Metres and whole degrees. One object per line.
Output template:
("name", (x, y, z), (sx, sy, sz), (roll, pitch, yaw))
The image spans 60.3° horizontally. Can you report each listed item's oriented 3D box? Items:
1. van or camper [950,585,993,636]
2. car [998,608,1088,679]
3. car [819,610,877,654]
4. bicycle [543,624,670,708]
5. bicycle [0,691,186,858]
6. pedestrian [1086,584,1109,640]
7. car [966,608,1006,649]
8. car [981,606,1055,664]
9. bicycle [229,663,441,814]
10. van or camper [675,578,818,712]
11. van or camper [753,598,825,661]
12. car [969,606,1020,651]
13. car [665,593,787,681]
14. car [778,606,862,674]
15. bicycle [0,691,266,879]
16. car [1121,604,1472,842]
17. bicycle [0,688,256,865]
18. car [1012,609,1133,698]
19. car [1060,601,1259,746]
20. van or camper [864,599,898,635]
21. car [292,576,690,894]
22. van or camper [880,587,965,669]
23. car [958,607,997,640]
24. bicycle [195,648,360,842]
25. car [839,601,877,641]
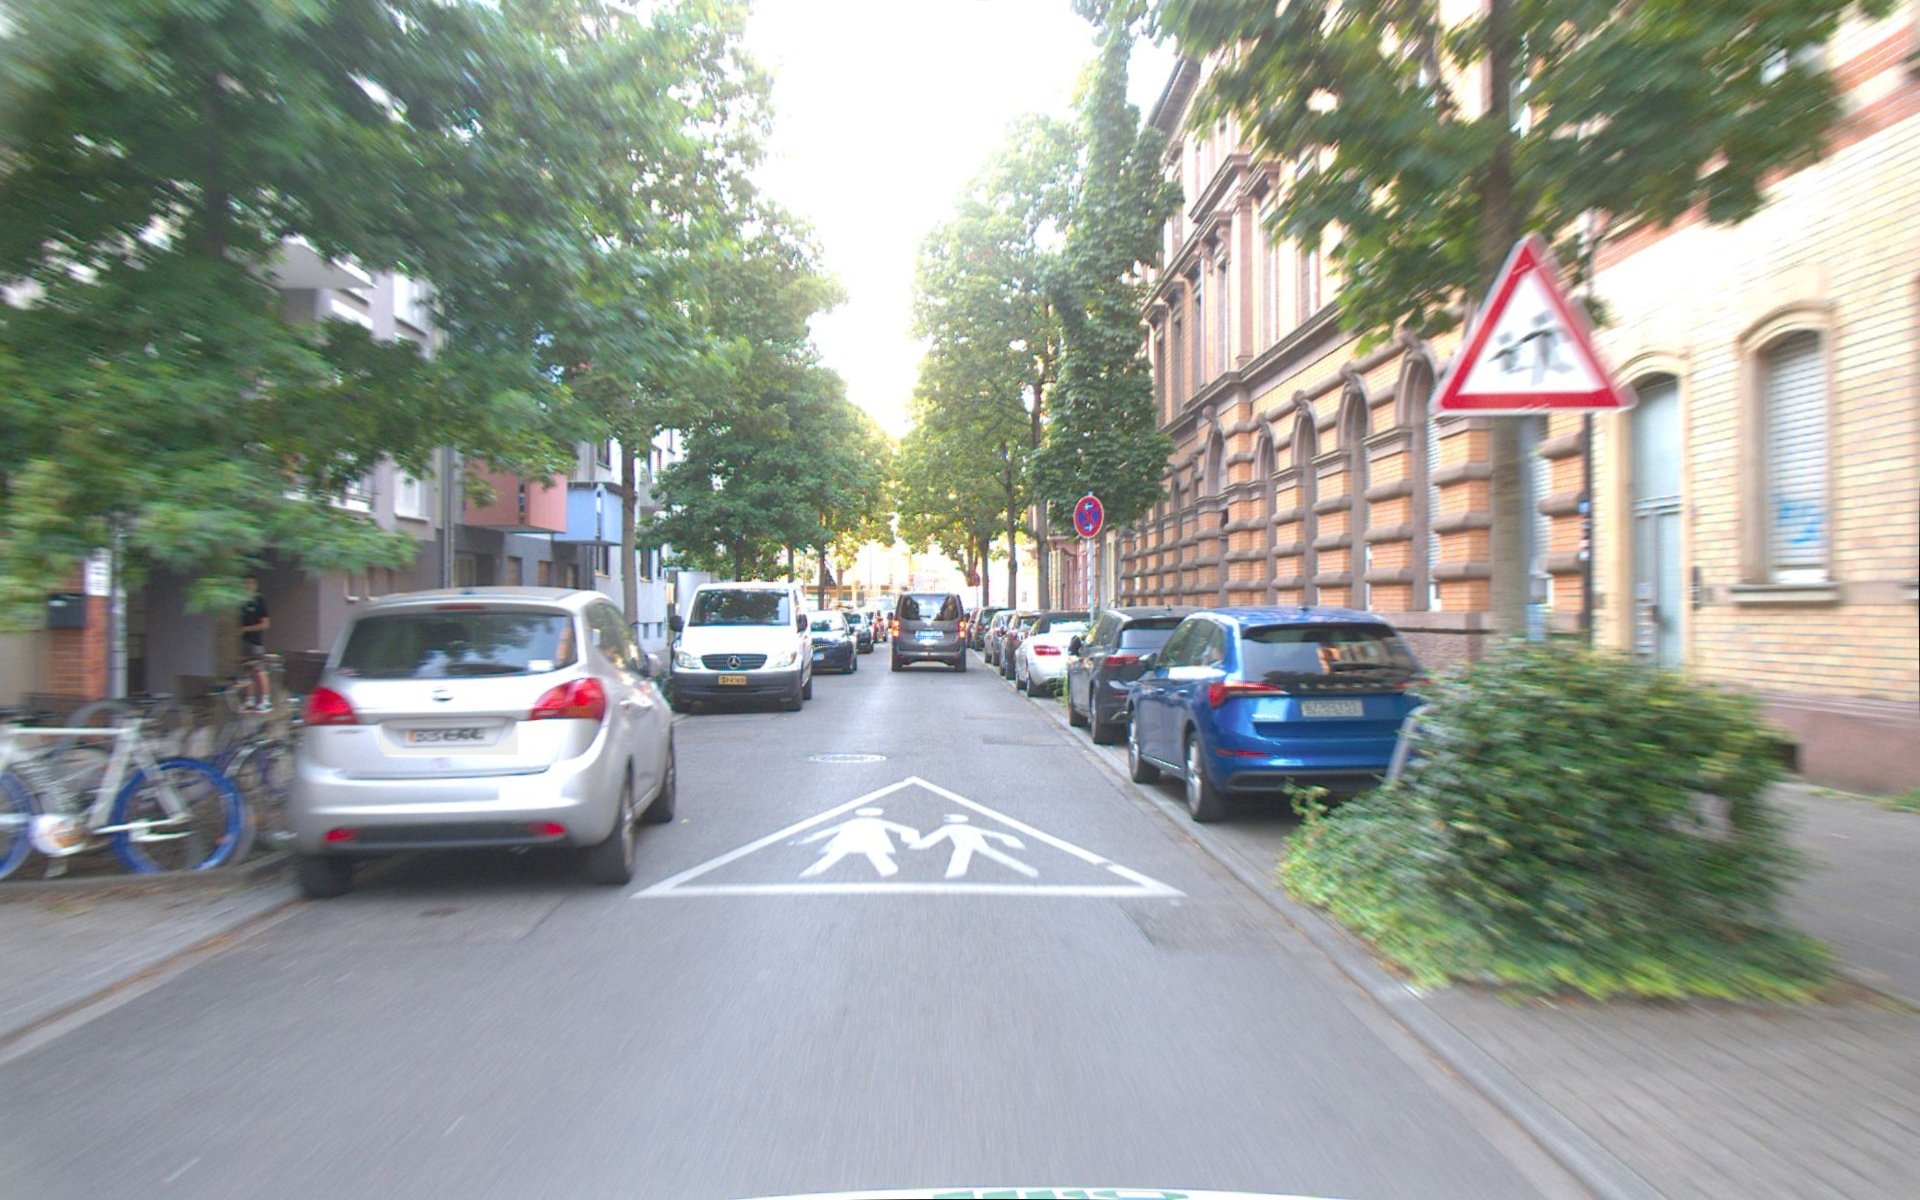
("van or camper", (0.584, 0.544, 88.618), (1.954, 2.644, 5.421), (0, 0, -3))
("car", (1.786, 0.934, 36.719), (1.687, 1.475, 4.213), (-1, -1, -2))
("car", (-3.886, 1.093, 57.990), (1.809, 1.477, 4.501), (1, 0, -1))
("bicycle", (-5.230, 0.956, 24.531), (0.686, 1.184, 1.813), (-1, 0, 40))
("bicycle", (-5.379, 0.994, 9.508), (1.643, 0.914, 0.379), (1, -1, -32))
("pedestrian", (4.157, 0.352, 50.116), (0.614, 1.677, 0.531), (1, -1, -1))
("car", (1.025, 1.099, 64.912), (1.519, 1.523, 3.611), (1, 0, 1))
("car", (1.599, 0.942, 46.621), (1.664, 1.509, 3.997), (-2, 0, -3))
("bicycle", (-4.666, 0.999, 12.308), (1.694, 1.012, 0.575), (0, 0, 32))
("van or camper", (-3.203, 0.638, 25.600), (1.839, 1.875, 4.750), (0, 0, -3))
("van or camper", (-5.328, 0.902, 52.031), (1.892, 1.790, 4.463), (3, 0, -3))
("car", (1.237, 1.018, 60.620), (1.579, 1.586, 3.763), (-1, 0, -3))
("car", (-4.870, 0.745, 35.060), (1.953, 1.675, 4.920), (2, 0, -2))
("car", (-3.322, 0.942, 39.898), (1.793, 1.544, 4.514), (0, -1, -2))
("bicycle", (-4.612, 0.958, 8.759), (1.682, 0.923, 0.379), (1, -1, -32))
("car", (2.342, 0.784, 12.598), (1.595, 1.492, 4.242), (0, 0, -3))
("bicycle", (-4.837, 0.958, 9.154), (1.682, 0.914, 0.379), (1, -1, -32))
("car", (1.917, 0.883, 29.386), (1.659, 1.426, 4.644), (-1, 0, -2))
("car", (2.206, 0.777, 19.309), (1.677, 1.503, 4.190), (0, 0, -2))
("van or camper", (-4.634, 0.993, 97.457), (1.824, 2.018, 4.270), (0, 0, 0))
("car", (-2.690, 0.684, 10.350), (1.630, 1.590, 3.996), (0, 0, -5))
("van or camper", (-0.884, 0.679, 41.463), (1.993, 1.931, 4.271), (1, 0, 0))
("car", (0.788, 1.092, 77.635), (1.715, 1.497, 3.775), (0, 0, -1))
("bicycle", (-4.377, 0.890, 10.710), (0.411, 1.123, 1.664), (1, -1, -2))
("car", (-4.408, 0.876, 71.921), (1.597, 1.455, 3.542), (0, 4, -2))
